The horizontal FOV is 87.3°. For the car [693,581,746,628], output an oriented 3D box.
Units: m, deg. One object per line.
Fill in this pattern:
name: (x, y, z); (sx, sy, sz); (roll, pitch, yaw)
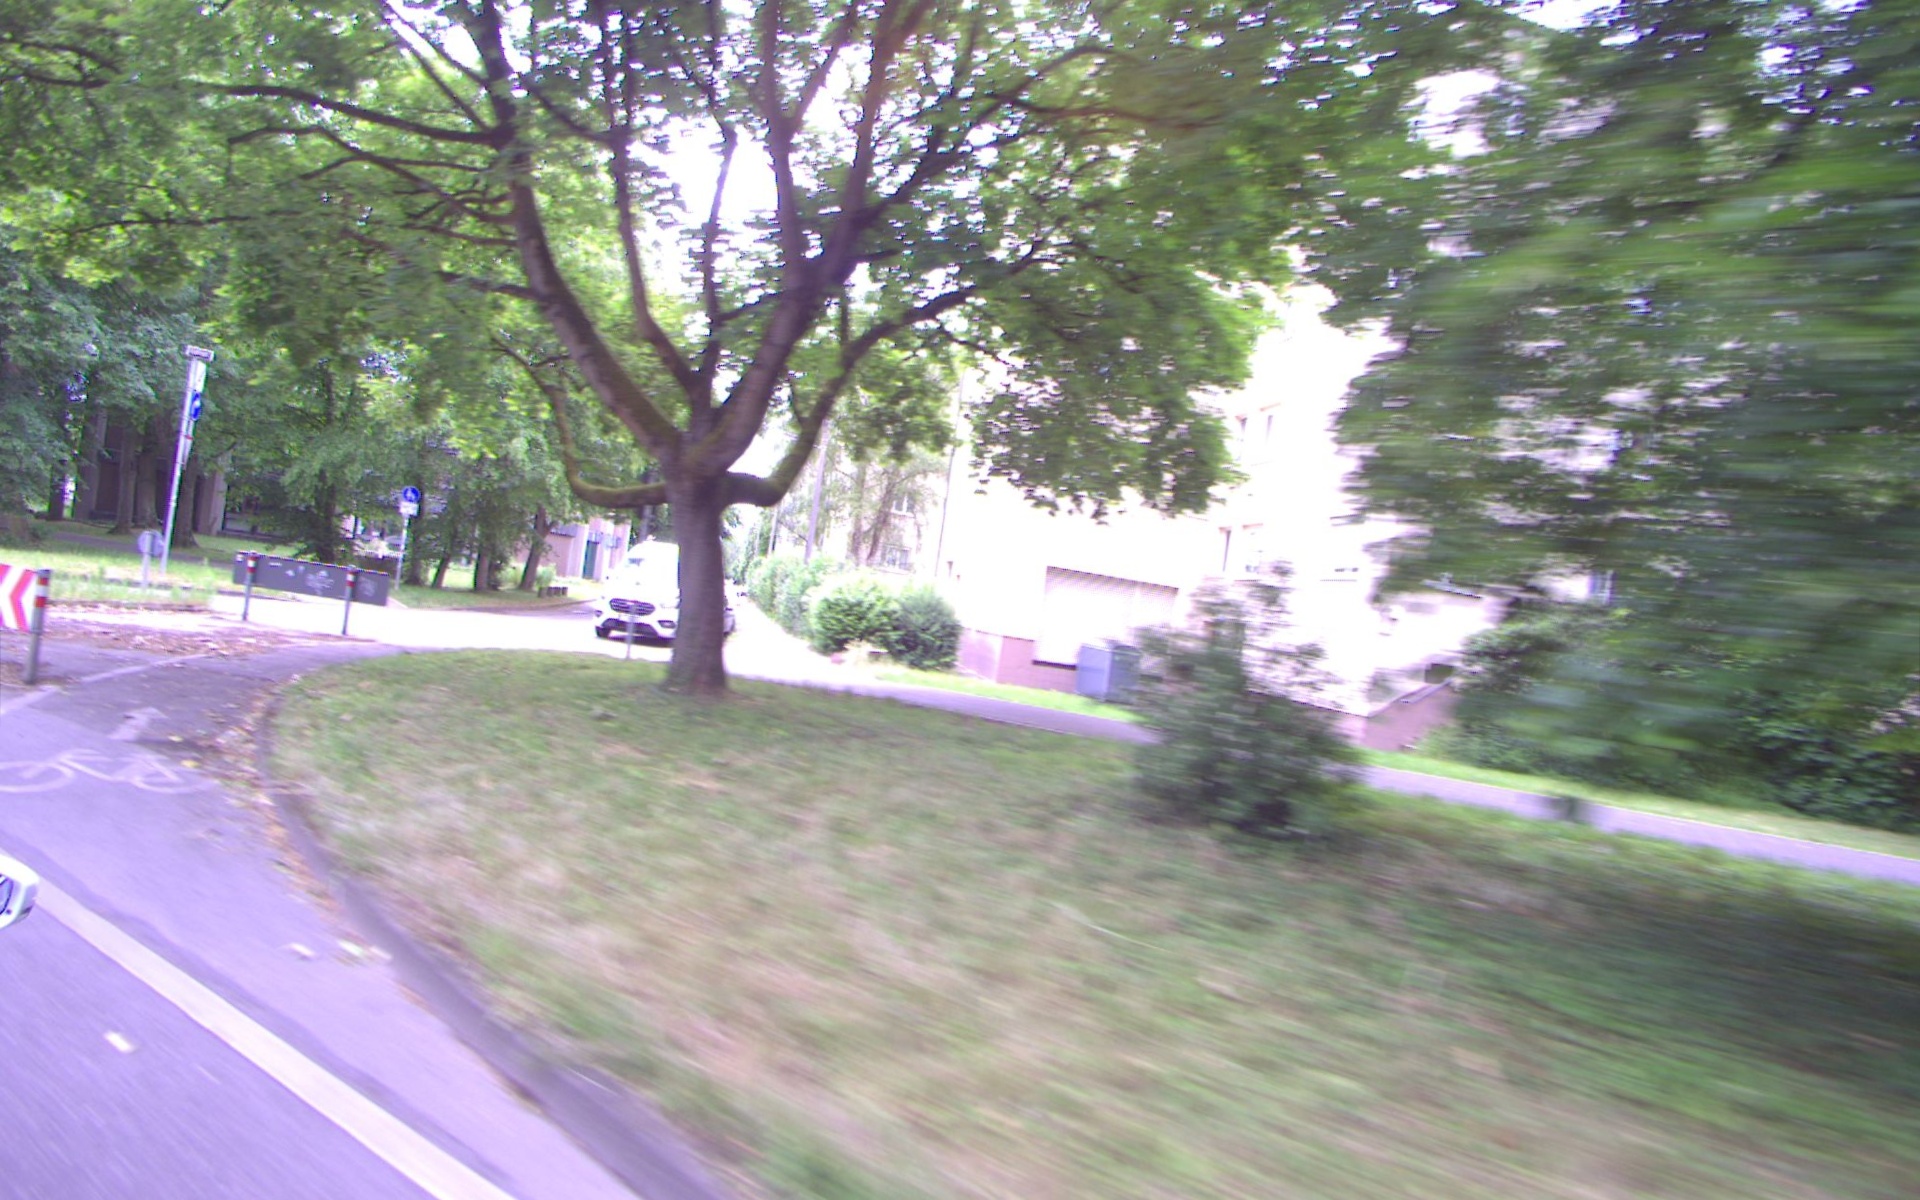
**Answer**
car: (-9.533, 0.154, 39.750); (1.772, 1.528, 3.988); (8, -1, -15)

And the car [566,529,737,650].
car: (-7.248, -0.184, 24.385); (2.250, 2.326, 5.327); (8, -1, 0)

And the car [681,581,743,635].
car: (-8.477, 0.238, 34.753); (1.771, 1.528, 4.593); (8, -1, -12)

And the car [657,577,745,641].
car: (-7.505, 0.262, 29.509); (1.769, 1.528, 3.996); (8, -1, -6)
